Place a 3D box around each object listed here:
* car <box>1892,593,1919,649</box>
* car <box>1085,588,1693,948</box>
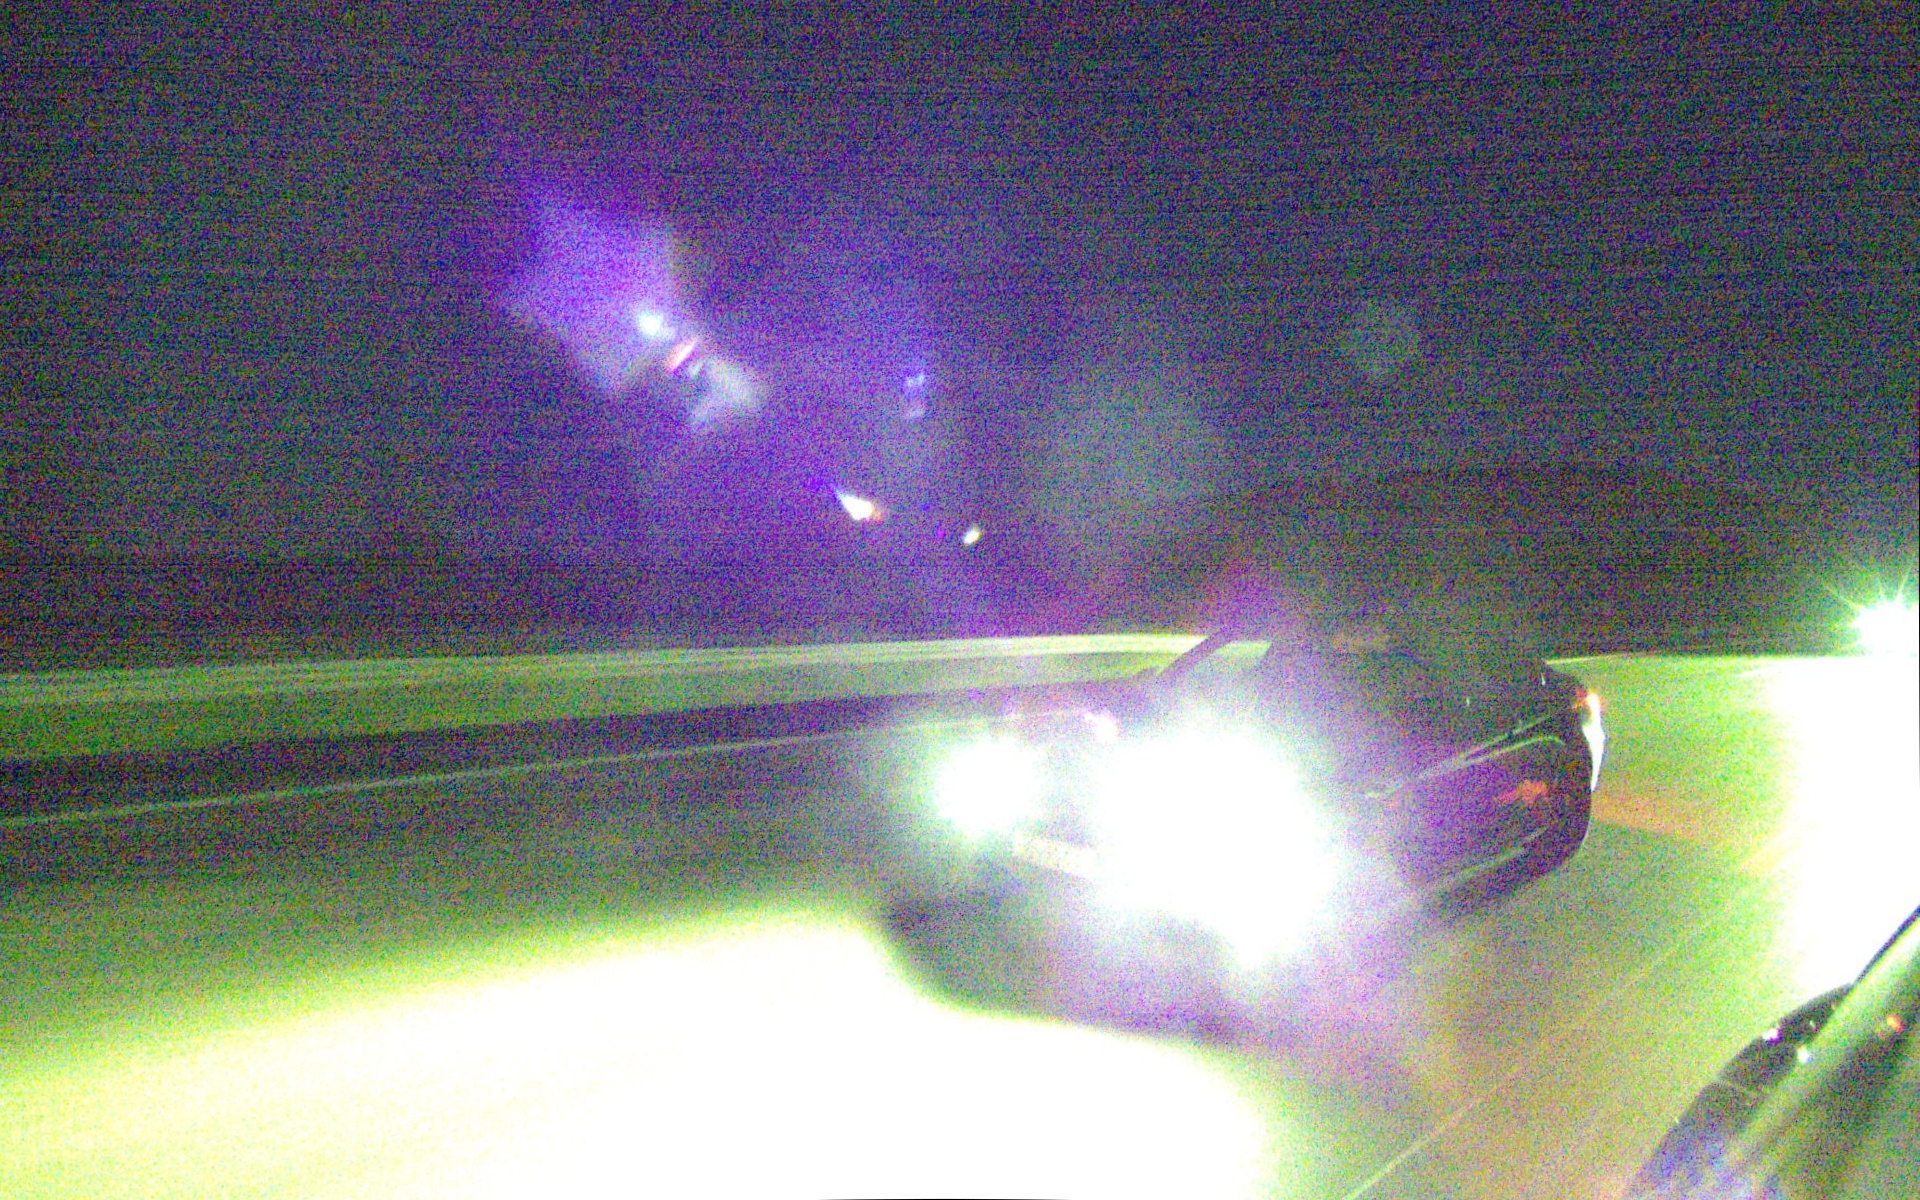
[{"bbox_3d":[28.510,0.599,29.290,4.151,1.560,1.794,0,0,-40],"label":"car"},{"bbox_3d":[2.796,0.673,6.102,4.151,1.431,1.690,0,1,-40],"label":"car"}]
